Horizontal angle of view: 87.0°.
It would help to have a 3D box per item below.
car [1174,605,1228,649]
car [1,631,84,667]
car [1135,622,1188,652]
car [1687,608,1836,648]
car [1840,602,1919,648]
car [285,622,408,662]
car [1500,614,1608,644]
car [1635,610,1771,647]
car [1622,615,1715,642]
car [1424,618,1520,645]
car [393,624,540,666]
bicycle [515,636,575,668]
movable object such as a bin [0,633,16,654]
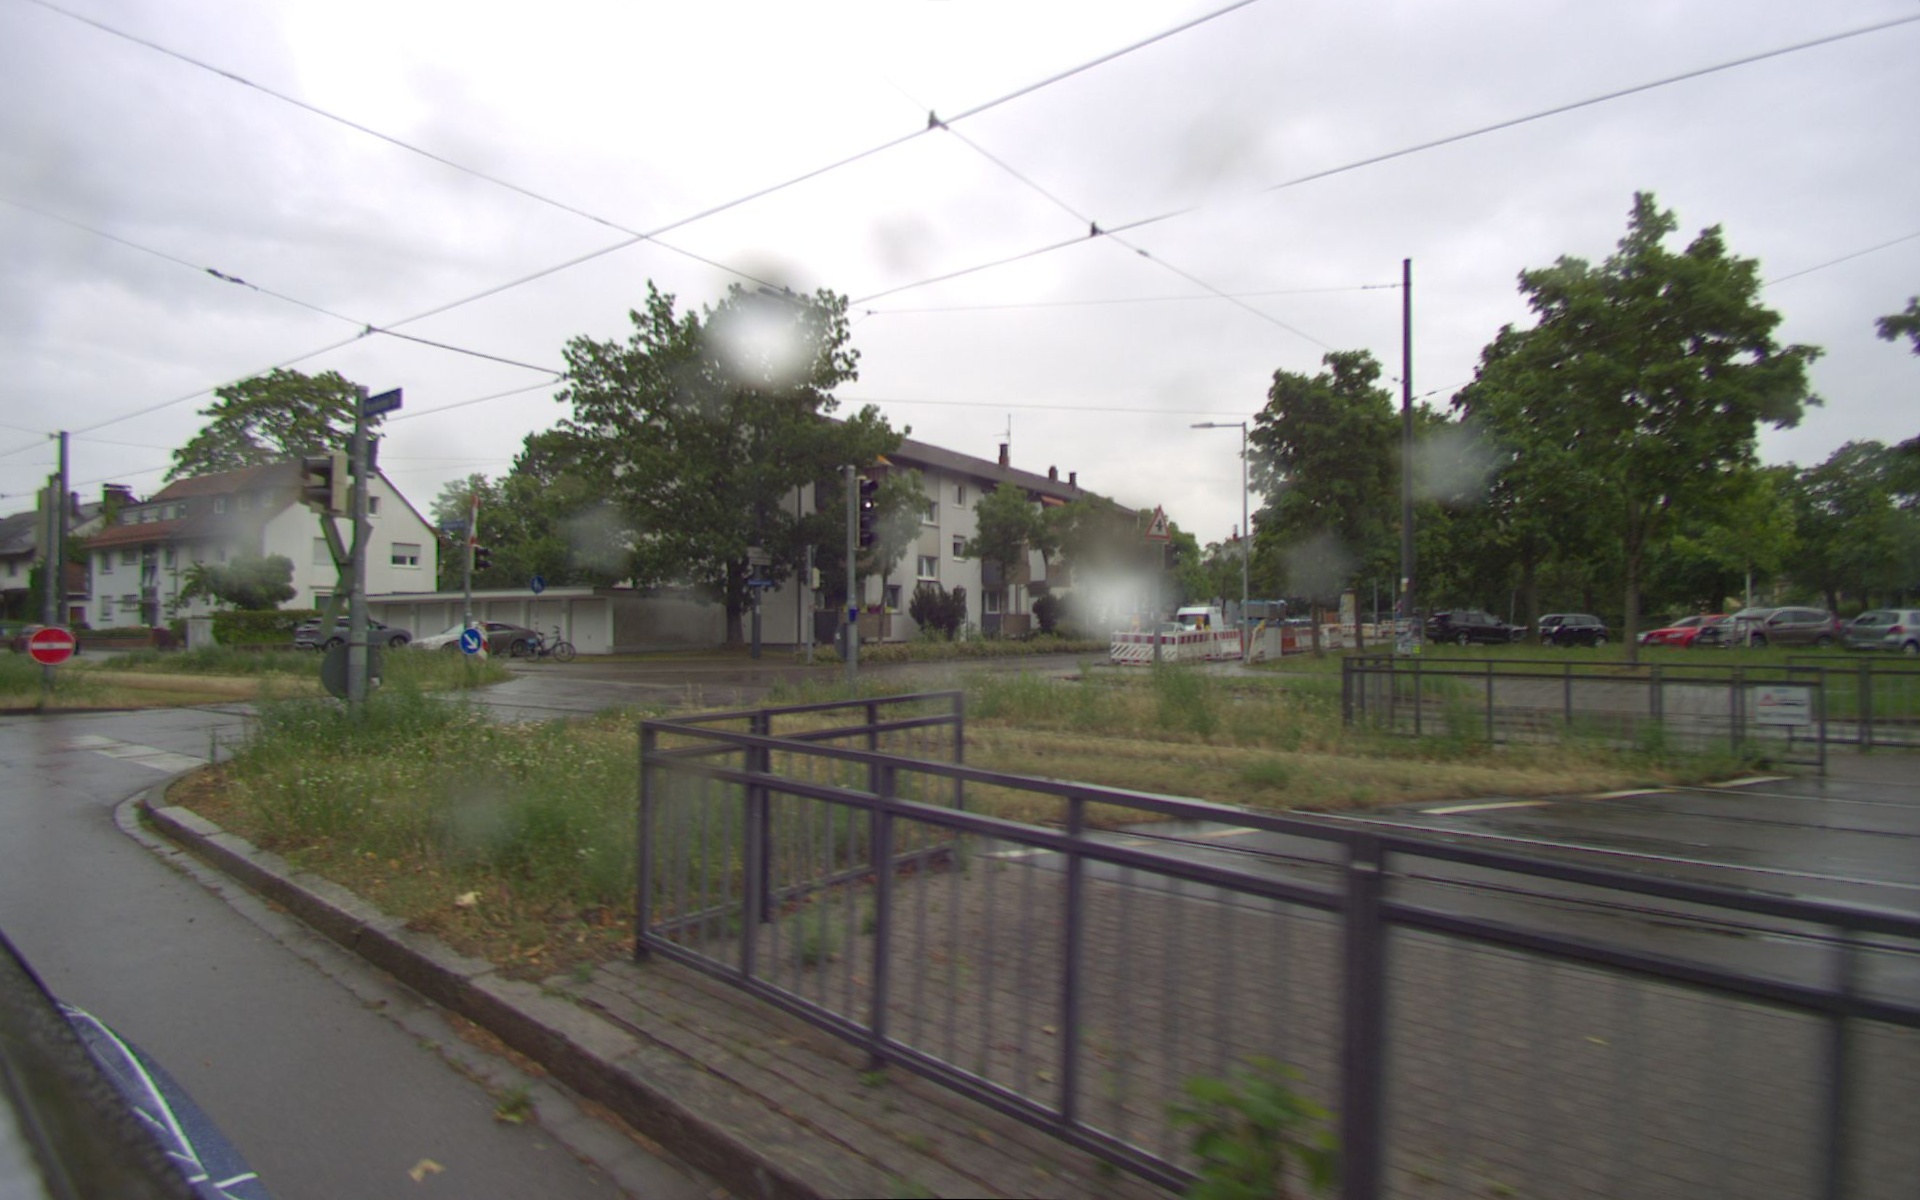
[{"bbox_3d":[14.117,1.605,59.170,1.910,2.465,4.425,-2,-2,30],"label":"car"},{"bbox_3d":[-43.425,2.284,47.868,3.958,1.558,1.828,-1,1,31],"label":"car"},{"bbox_3d":[10.766,1.982,53.863,1.745,1.542,3.592,-2,-2,30],"label":"car"},{"bbox_3d":[26.033,0.925,32.922,3.683,1.258,1.668,0,-2,-8],"label":"car"},{"bbox_3d":[27.531,0.714,28.823,3.683,1.258,1.668,0,-2,-8],"label":"car"},{"bbox_3d":[-25.422,1.724,42.068,1.885,1.588,3.960,-1,-2,29],"label":"car"},{"bbox_3d":[25.141,1.233,42.902,3.683,1.258,1.668,0,-2,-8],"label":"car"},{"bbox_3d":[25.928,1.007,35.364,3.683,1.258,1.668,0,-2,-8],"label":"car"},{"bbox_3d":[34.989,1.415,50.011,3.681,1.335,1.669,0,-2,-11],"label":"car"},{"bbox_3d":[24.022,1.482,47.524,3.683,1.258,1.668,0,-2,-8],"label":"car"},{"bbox_3d":[-18.368,1.633,37.860,1.842,1.376,4.689,-1,-1,32],"label":"car"},{"bbox_3d":[-13.982,1.748,34.106,1.819,1.026,0.481,-1,1,6],"label":"bicycle"},{"bbox_3d":[-59.872,2.725,63.197,0.736,1.307,1.176,-1,-1,31],"label":"movable object such as a bin"}]
